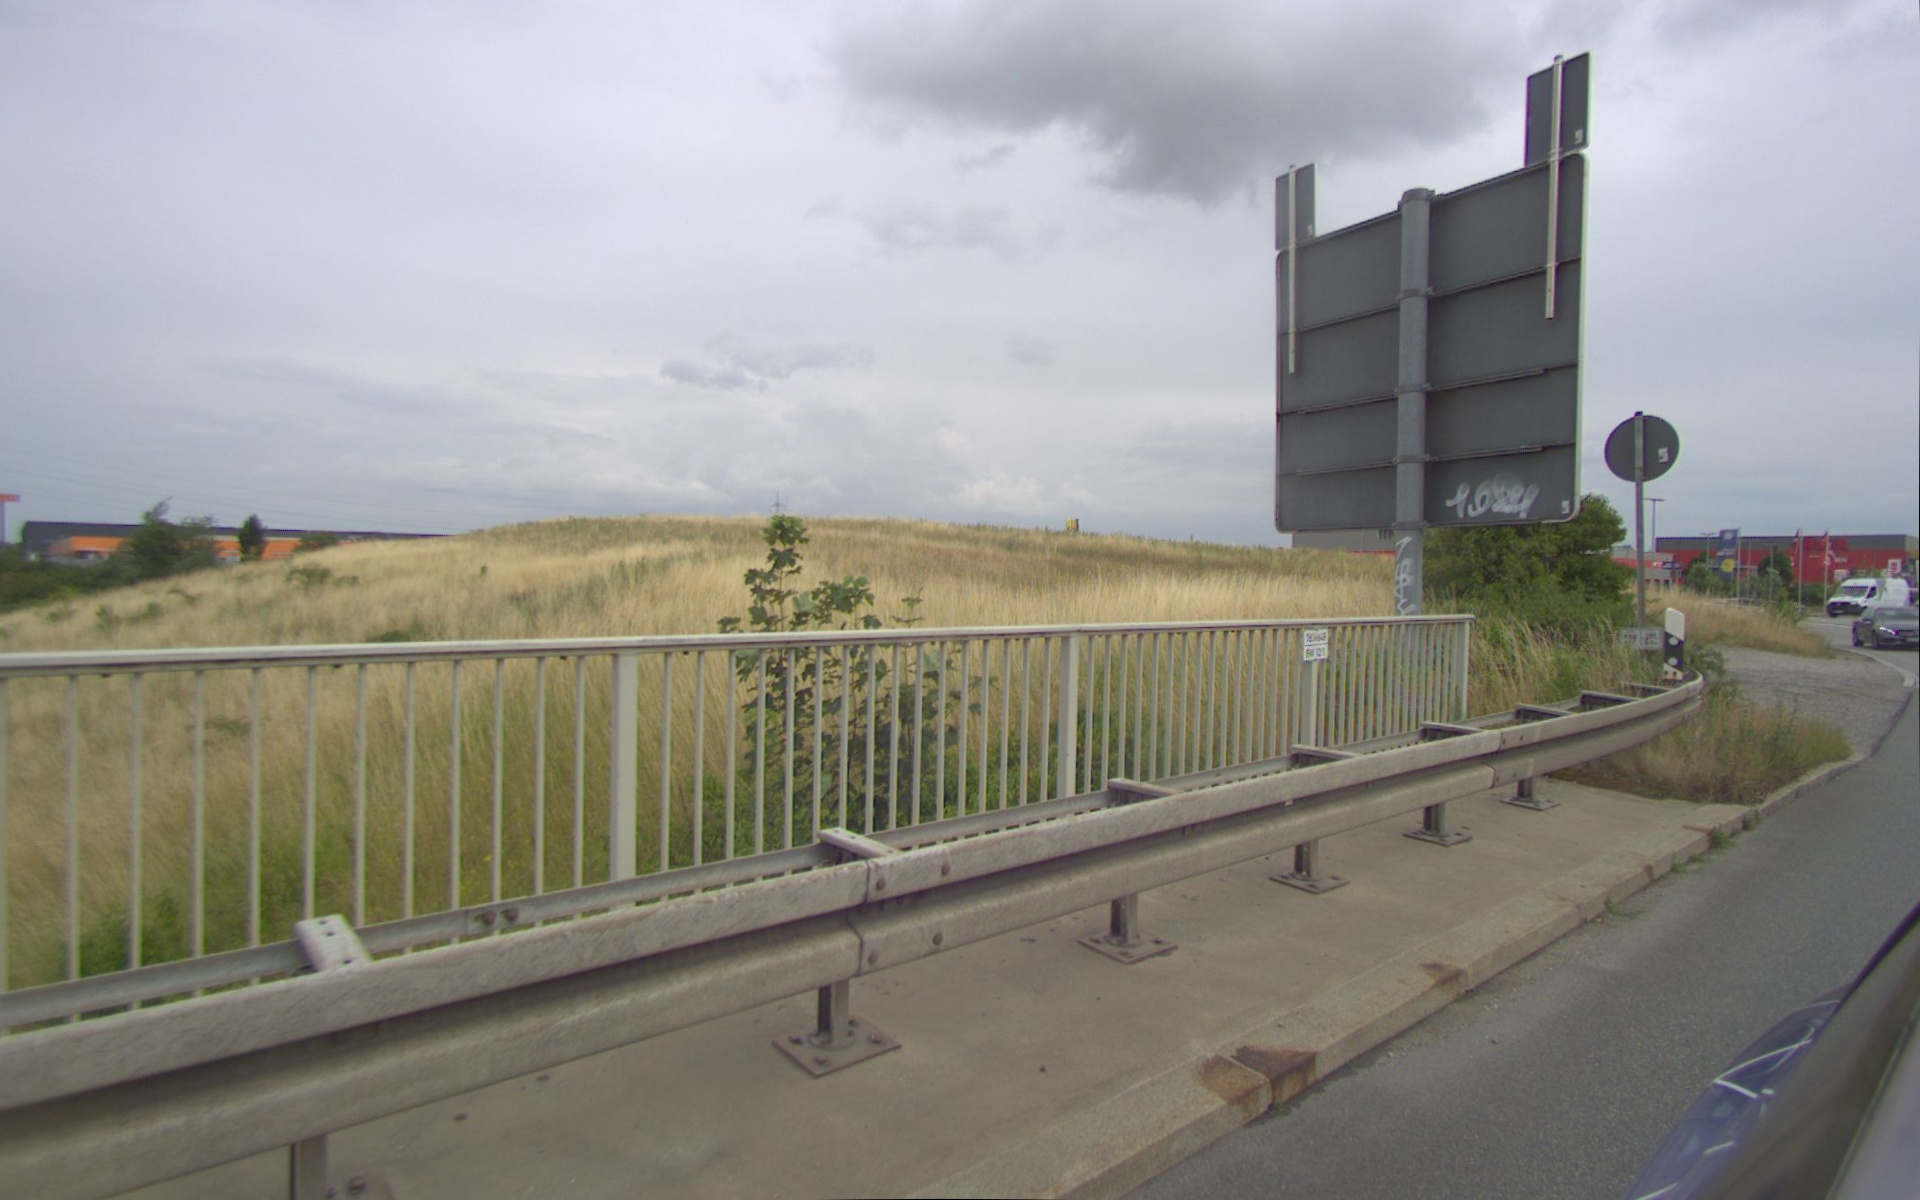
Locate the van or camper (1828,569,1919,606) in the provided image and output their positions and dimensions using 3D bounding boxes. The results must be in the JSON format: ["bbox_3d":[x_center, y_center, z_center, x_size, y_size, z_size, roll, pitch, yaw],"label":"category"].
[{"bbox_3d":[59.752,-0.830,66.055,5.424,2.394,2.058,0,1,-16],"label":"van or camper"}]

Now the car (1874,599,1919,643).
[{"bbox_3d":[32.127,0.683,34.125,1.758,1.438,4.031,0,-1,40],"label":"car"}]
